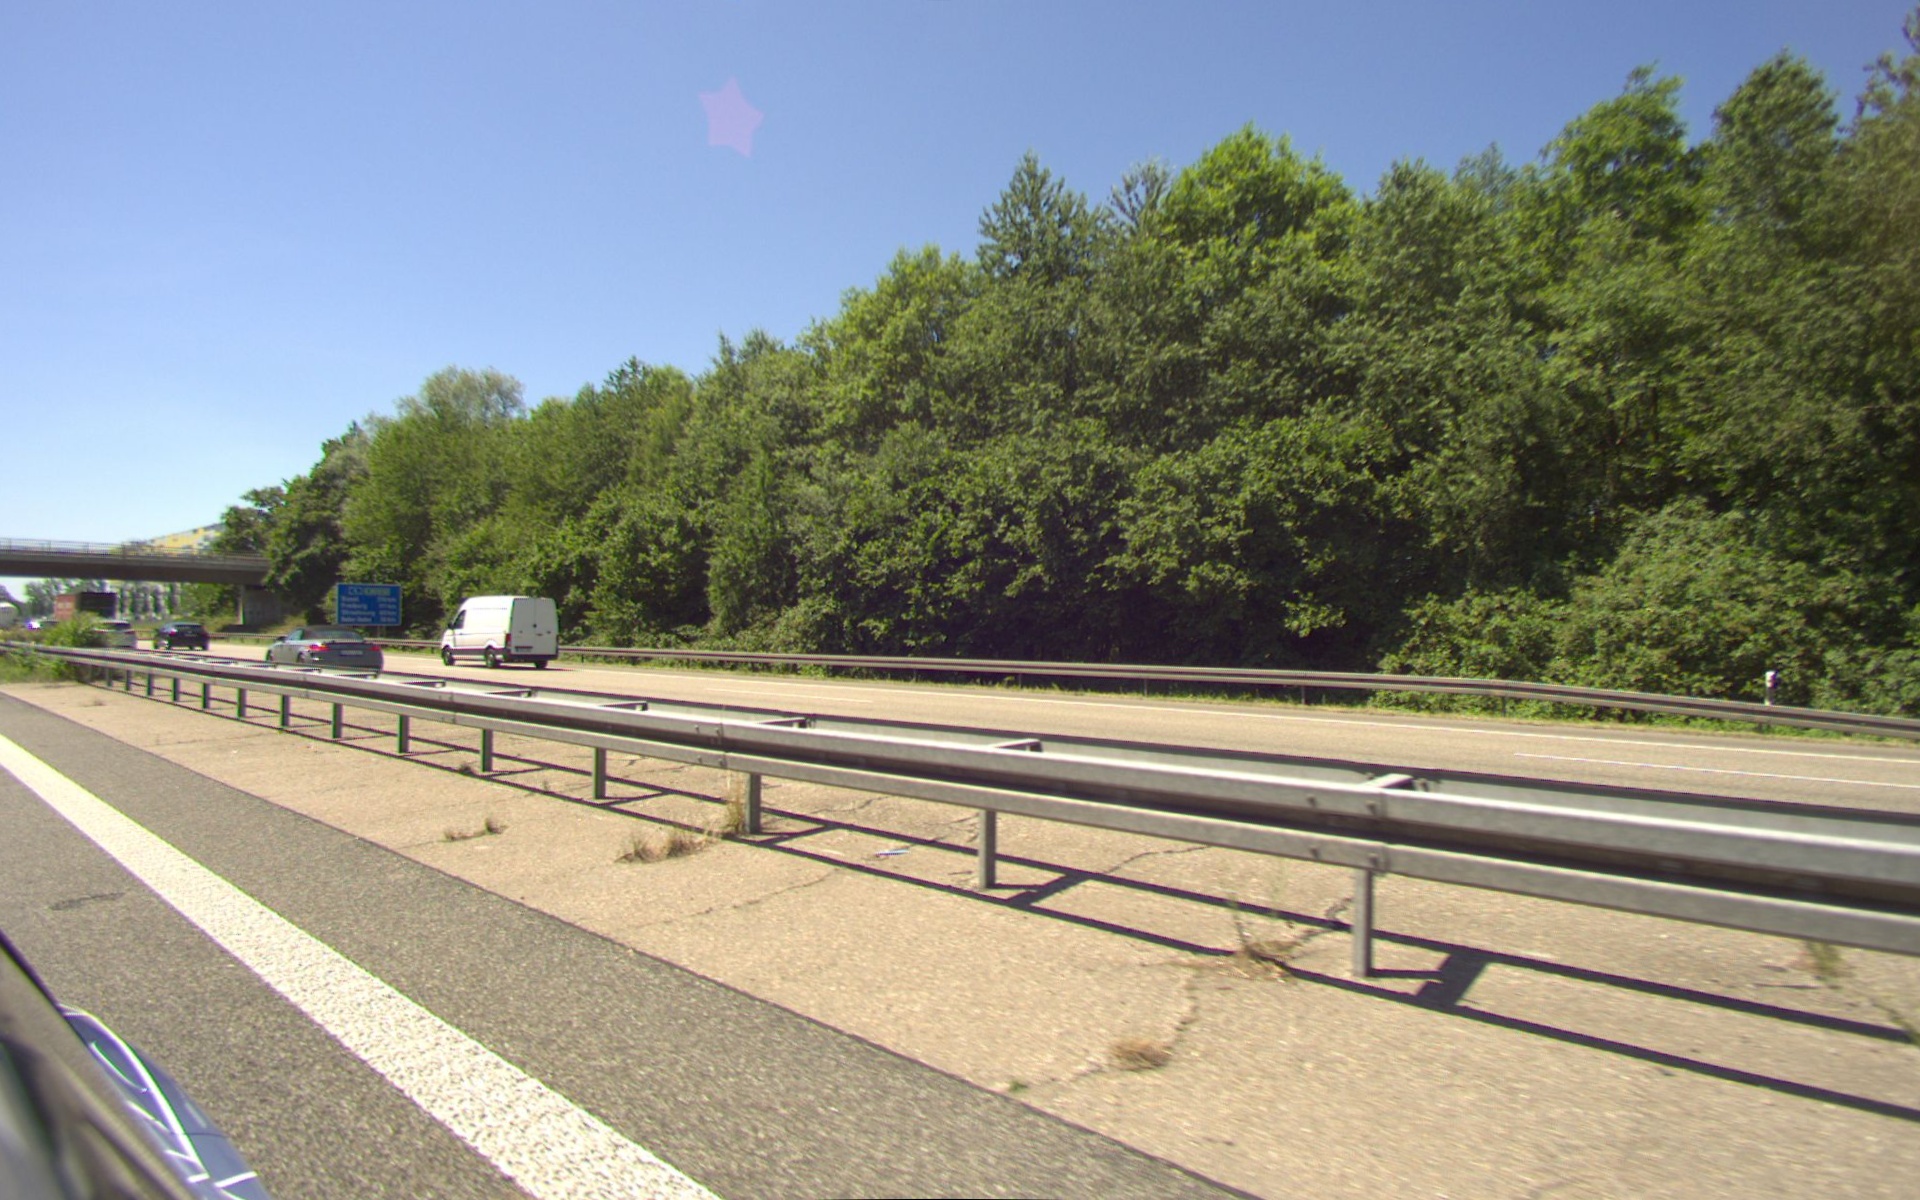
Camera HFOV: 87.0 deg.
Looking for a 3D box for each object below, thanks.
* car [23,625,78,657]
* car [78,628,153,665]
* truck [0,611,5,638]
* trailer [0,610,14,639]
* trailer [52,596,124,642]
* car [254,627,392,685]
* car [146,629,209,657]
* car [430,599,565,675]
[{"bbox_3d":[-50.272,2.243,55.890,4.344,1.716,1.651,-1,-2,40],"label":"car"},{"bbox_3d":[-33.806,1.841,40.491,3.771,1.413,1.651,-1,-2,40],"label":"car"},{"bbox_3d":[-137.597,3.523,143.568,5.249,3.804,2.335,-2,-4,41],"label":"truck"},{"bbox_3d":[-132.762,3.391,139.307,12.068,3.823,2.334,-2,-4,41],"label":"trailer"},{"bbox_3d":[-81.618,1.813,94.577,12.734,4.090,3.183,-1,-2,41],"label":"trailer"},{"bbox_3d":[-16.552,1.405,26.221,4.425,1.393,1.819,-1,-3,41],"label":"car"},{"bbox_3d":[-40.906,2.223,52.884,4.703,1.413,1.651,-1,-2,40],"label":"car"},{"bbox_3d":[-17.001,1.346,37.032,6.224,2.572,2.065,-1,-3,41],"label":"car"}]
